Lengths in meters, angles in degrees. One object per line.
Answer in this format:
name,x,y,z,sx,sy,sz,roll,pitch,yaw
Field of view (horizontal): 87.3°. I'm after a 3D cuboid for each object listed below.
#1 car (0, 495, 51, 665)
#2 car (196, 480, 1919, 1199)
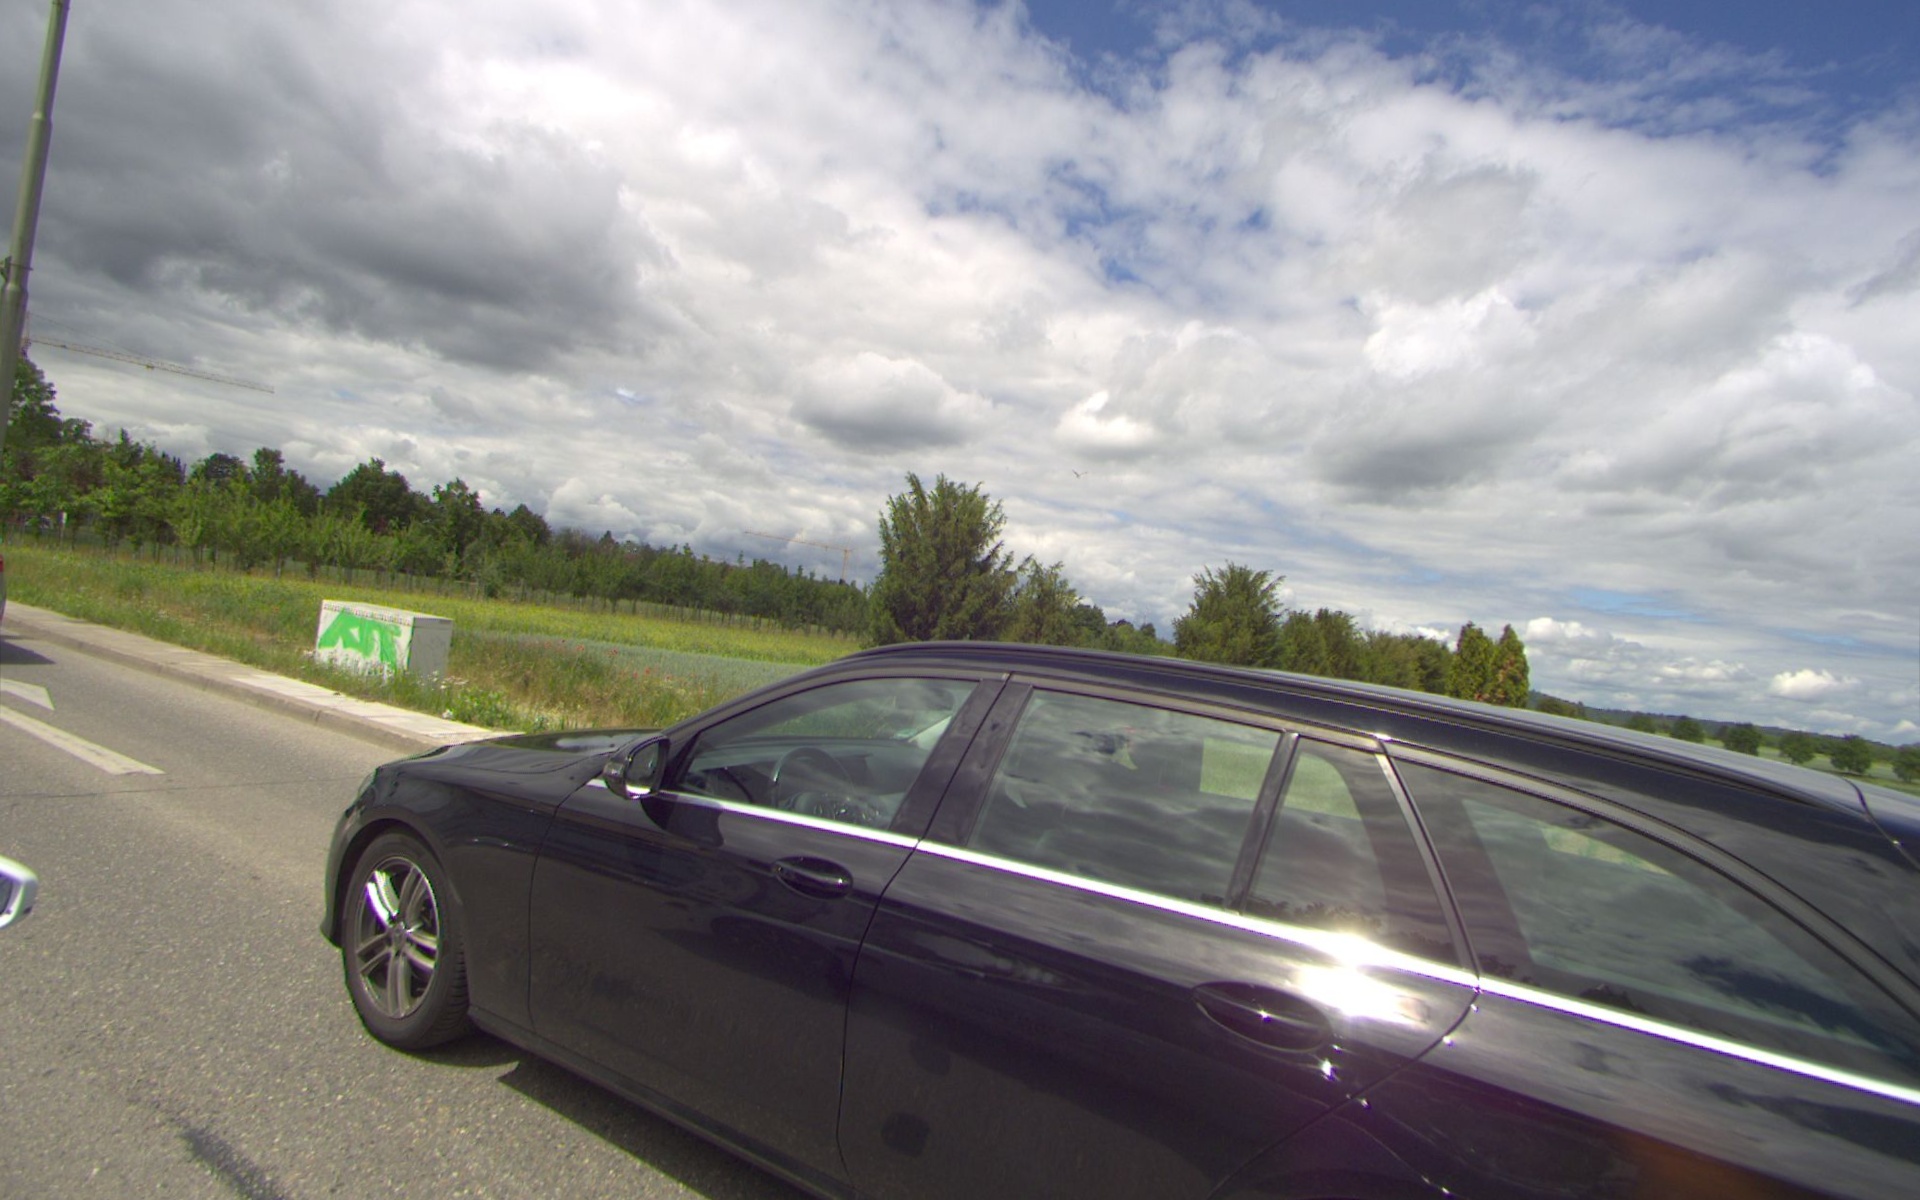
car,-10.880,-0.405,9.708,4.268,1.544,1.960,6,0,32
car,-0.055,0.743,2.982,4.725,1.556,1.841,9,0,32
